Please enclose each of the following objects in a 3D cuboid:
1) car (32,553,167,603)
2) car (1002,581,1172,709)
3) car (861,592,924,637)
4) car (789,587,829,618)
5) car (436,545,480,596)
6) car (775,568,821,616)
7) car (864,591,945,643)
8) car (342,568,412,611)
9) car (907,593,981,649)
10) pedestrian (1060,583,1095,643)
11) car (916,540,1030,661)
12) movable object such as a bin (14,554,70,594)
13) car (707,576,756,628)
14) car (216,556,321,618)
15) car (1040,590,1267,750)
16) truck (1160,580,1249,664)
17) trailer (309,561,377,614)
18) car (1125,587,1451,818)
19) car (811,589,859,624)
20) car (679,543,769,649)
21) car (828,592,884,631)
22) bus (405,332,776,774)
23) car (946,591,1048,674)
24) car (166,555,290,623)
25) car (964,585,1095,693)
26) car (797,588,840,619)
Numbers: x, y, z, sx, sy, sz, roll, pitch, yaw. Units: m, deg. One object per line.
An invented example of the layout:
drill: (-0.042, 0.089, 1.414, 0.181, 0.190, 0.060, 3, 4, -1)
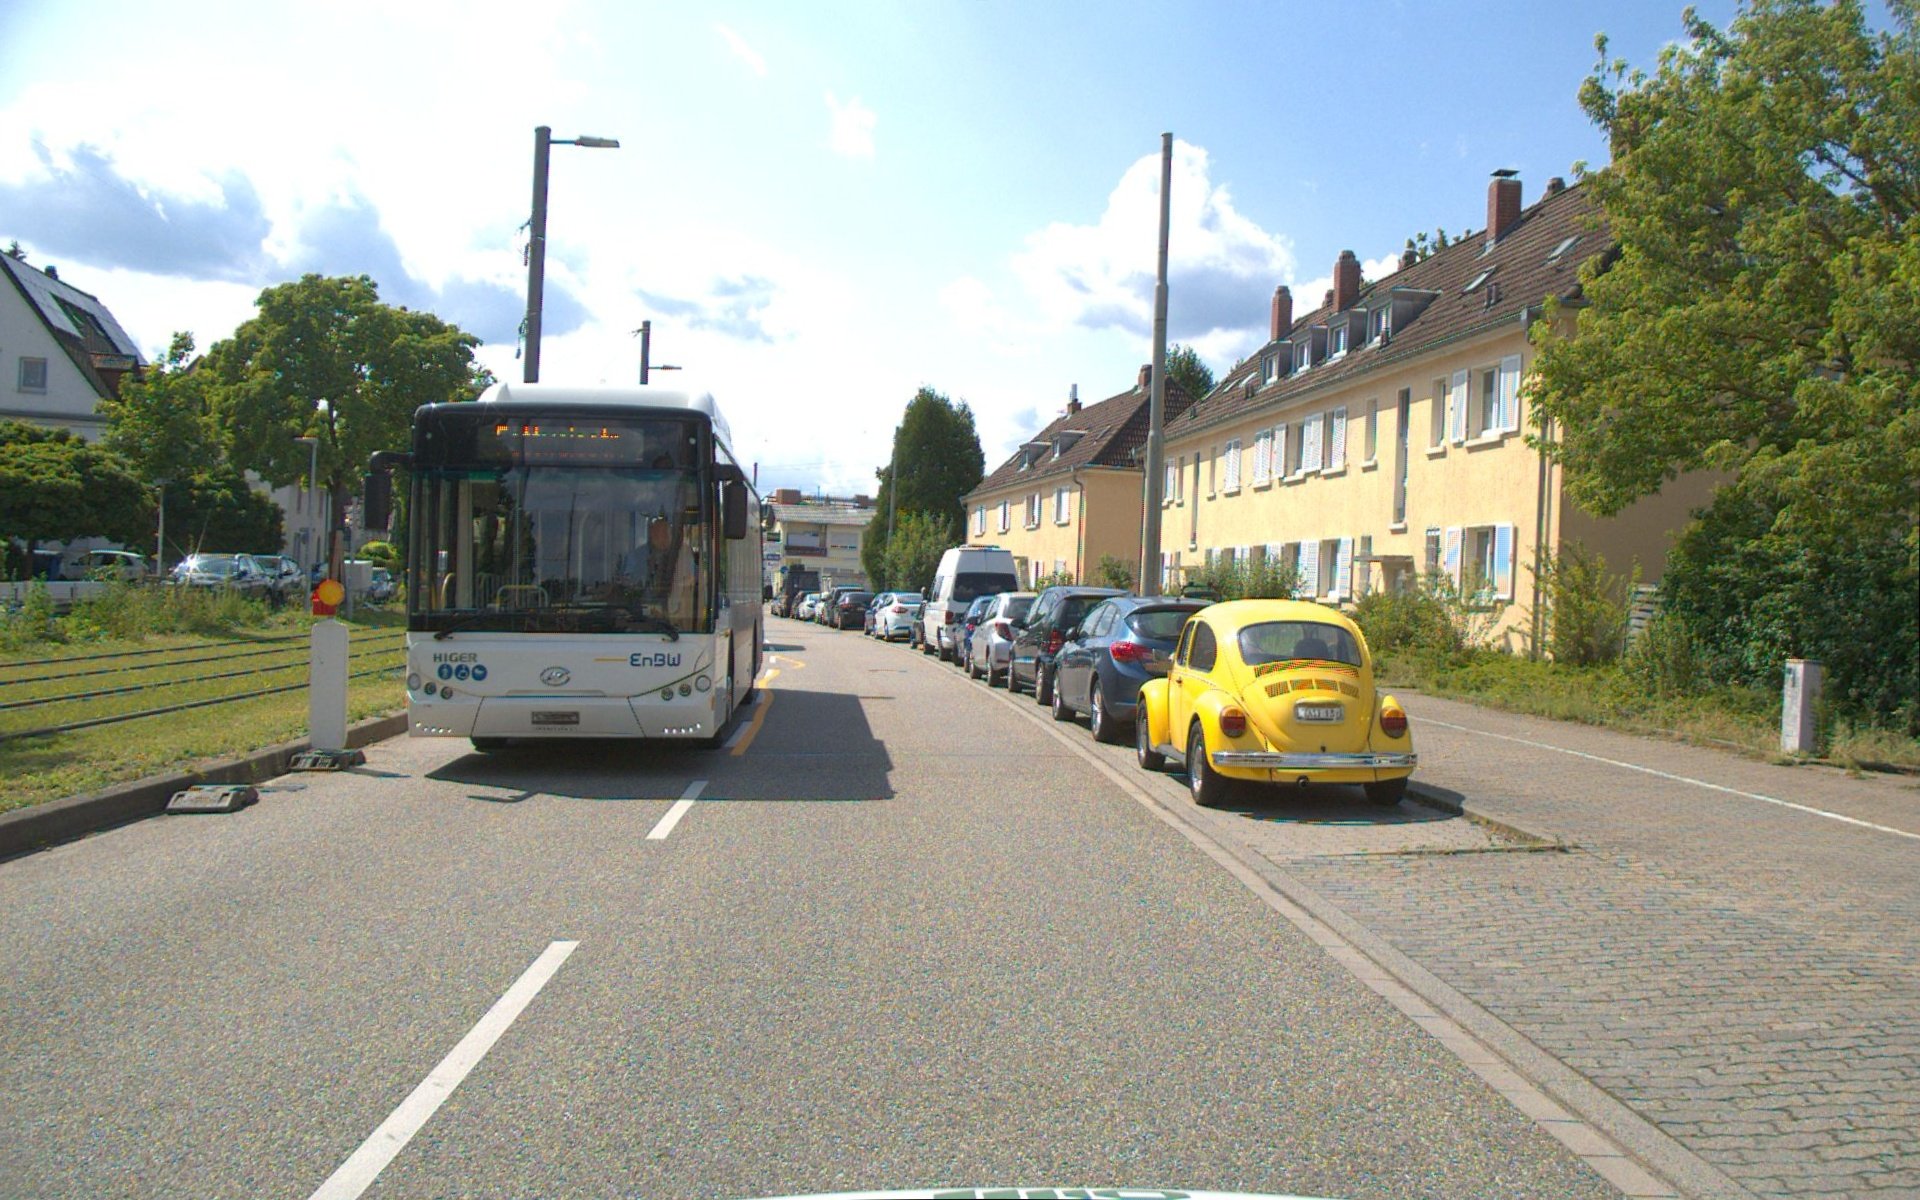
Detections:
car: (-30.890, -0.787, 59.486, 3.918, 1.598, 1.789, 2, 0, -13)
car: (1.739, 0.581, 23.844, 1.605, 1.630, 3.925, 2, 0, -8)
car: (-2.323, 0.473, 56.016, 1.591, 1.442, 3.990, 0, 0, -10)
car: (-7.820, 0.095, 85.620, 1.732, 1.529, 3.990, 0, 0, -10)
car: (-28.283, -1.622, 93.331, 2.039, 2.768, 6.976, 0, 0, -14)
car: (-9.031, -0.464, 91.756, 1.924, 2.522, 6.043, 0, 0, -11)
car: (-1.750, 0.505, 50.587, 1.766, 1.483, 4.752, 0, 0, -11)
car: (-21.981, -0.403, 62.497, 1.696, 1.531, 4.558, 0, 0, -9)
car: (-0.450, 0.529, 42.771, 1.317, 1.364, 3.279, 2, -1, -11)
pedestrian: (3.409, 0.376, 48.025, 0.837, 1.680, 0.636, 3, 0, -5)
car: (0.201, 0.004, 37.931, 1.892, 2.524, 5.509, 1, 0, -7)
movable object such as a bin: (-31.817, -0.899, 57.334, 1.334, 1.352, 1.087, 2, 0, -9)
car: (-8.560, 0.050, 62.102, 1.702, 1.804, 4.301, 2, 0, -8)
car: (-19.715, -0.376, 47.359, 1.664, 1.666, 4.559, 0, 0, -8)
car: (2.017, 0.682, 18.384, 1.604, 1.508, 4.119, 3, 0, -6)
truck: (5.293, 0.462, 36.008, 1.320, 1.718, 2.438, 2, 0, -6)
trailer: (-21.155, -0.446, 56.782, 1.537, 1.707, 3.364, 2, 0, -10)
car: (2.431, 0.680, 13.202, 1.604, 1.508, 3.929, 0, 1, -4)
car: (-5.671, 0.257, 74.618, 1.732, 1.502, 3.990, 0, 0, -10)
car: (-6.018, -0.107, 42.759, 2.062, 2.486, 5.563, 2, 0, -7)
car: (-4.088, 0.419, 64.697, 1.732, 1.442, 3.990, 0, 0, -10)
bus: (-3.602, -0.403, 19.234, 2.585, 3.472, 12.235, 1, 0, -5)
car: (0.678, 0.603, 32.593, 1.506, 1.470, 3.733, 3, 0, -6)
car: (-18.553, -0.293, 42.130, 1.778, 1.614, 4.558, 0, 0, -9)
car: (1.089, 0.596, 27.900, 1.604, 1.630, 4.024, 2, 0, -6)
car: (-6.931, 0.160, 80.706, 1.732, 1.465, 3.990, 0, 0, -10)
